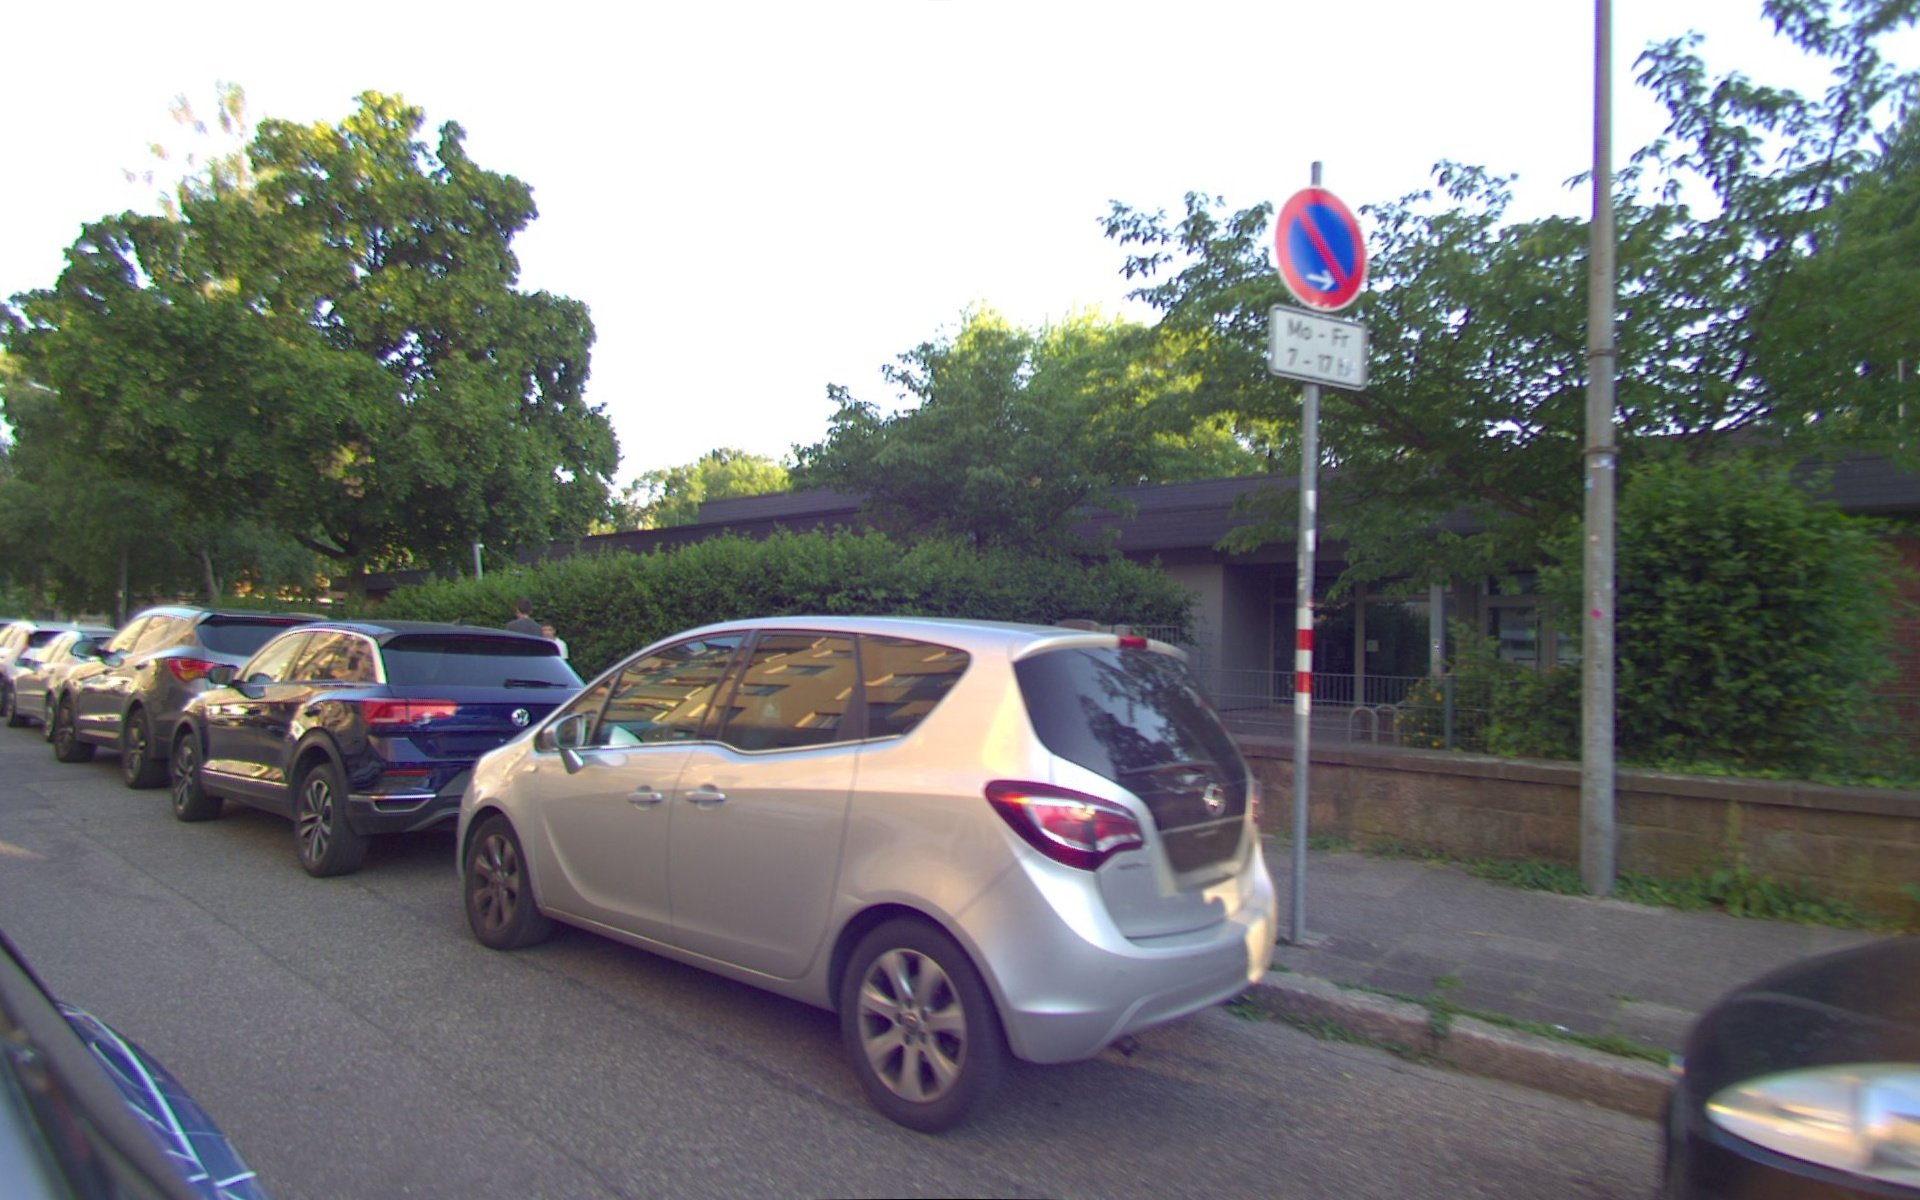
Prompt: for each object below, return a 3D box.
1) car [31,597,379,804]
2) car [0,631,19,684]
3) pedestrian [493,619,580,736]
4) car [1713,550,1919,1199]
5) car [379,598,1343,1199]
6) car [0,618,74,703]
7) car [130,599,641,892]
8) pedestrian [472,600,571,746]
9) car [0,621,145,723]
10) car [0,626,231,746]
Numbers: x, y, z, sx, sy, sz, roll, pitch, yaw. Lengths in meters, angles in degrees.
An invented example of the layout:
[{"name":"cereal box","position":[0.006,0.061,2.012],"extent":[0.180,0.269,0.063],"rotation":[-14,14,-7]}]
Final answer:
[{"name":"car","position":[-7.965,0.940,10.546],"extent":[4.316,1.743,1.717],"rotation":[-1,-5,38]},{"name":"car","position":[-28.021,1.582,28.625],"extent":[3.413,1.436,1.603],"rotation":[-1,-5,40]},{"name":"pedestrian","position":[-5.776,1.021,13.800],"extent":[0.901,1.519,0.741],"rotation":[-1,-1,38]},{"name":"car","position":[3.067,0.757,1.005],"extent":[3.691,1.579,1.717],"rotation":[-1,-5,38]},{"name":"car","position":[-0.682,0.878,4.444],"extent":[4.123,1.579,1.717],"rotation":[-1,-5,38]},{"name":"car","position":[-19.968,1.221,21.042],"extent":[3.978,1.644,1.715],"rotation":[-2,-5,41]},{"name":"car","position":[-4.359,0.876,7.445],"extent":[4.161,1.579,1.717],"rotation":[-1,-5,38]},{"name":"pedestrian","position":[-5.489,0.878,12.689],"extent":[0.749,1.745,0.890],"rotation":[-1,-1,39]},{"name":"car","position":[-15.874,1.202,17.502],"extent":[4.274,1.555,1.742],"rotation":[-1,-5,38]},{"name":"car","position":[-12.082,1.135,14.253],"extent":[4.280,1.438,1.717],"rotation":[-1,-5,38]}]
